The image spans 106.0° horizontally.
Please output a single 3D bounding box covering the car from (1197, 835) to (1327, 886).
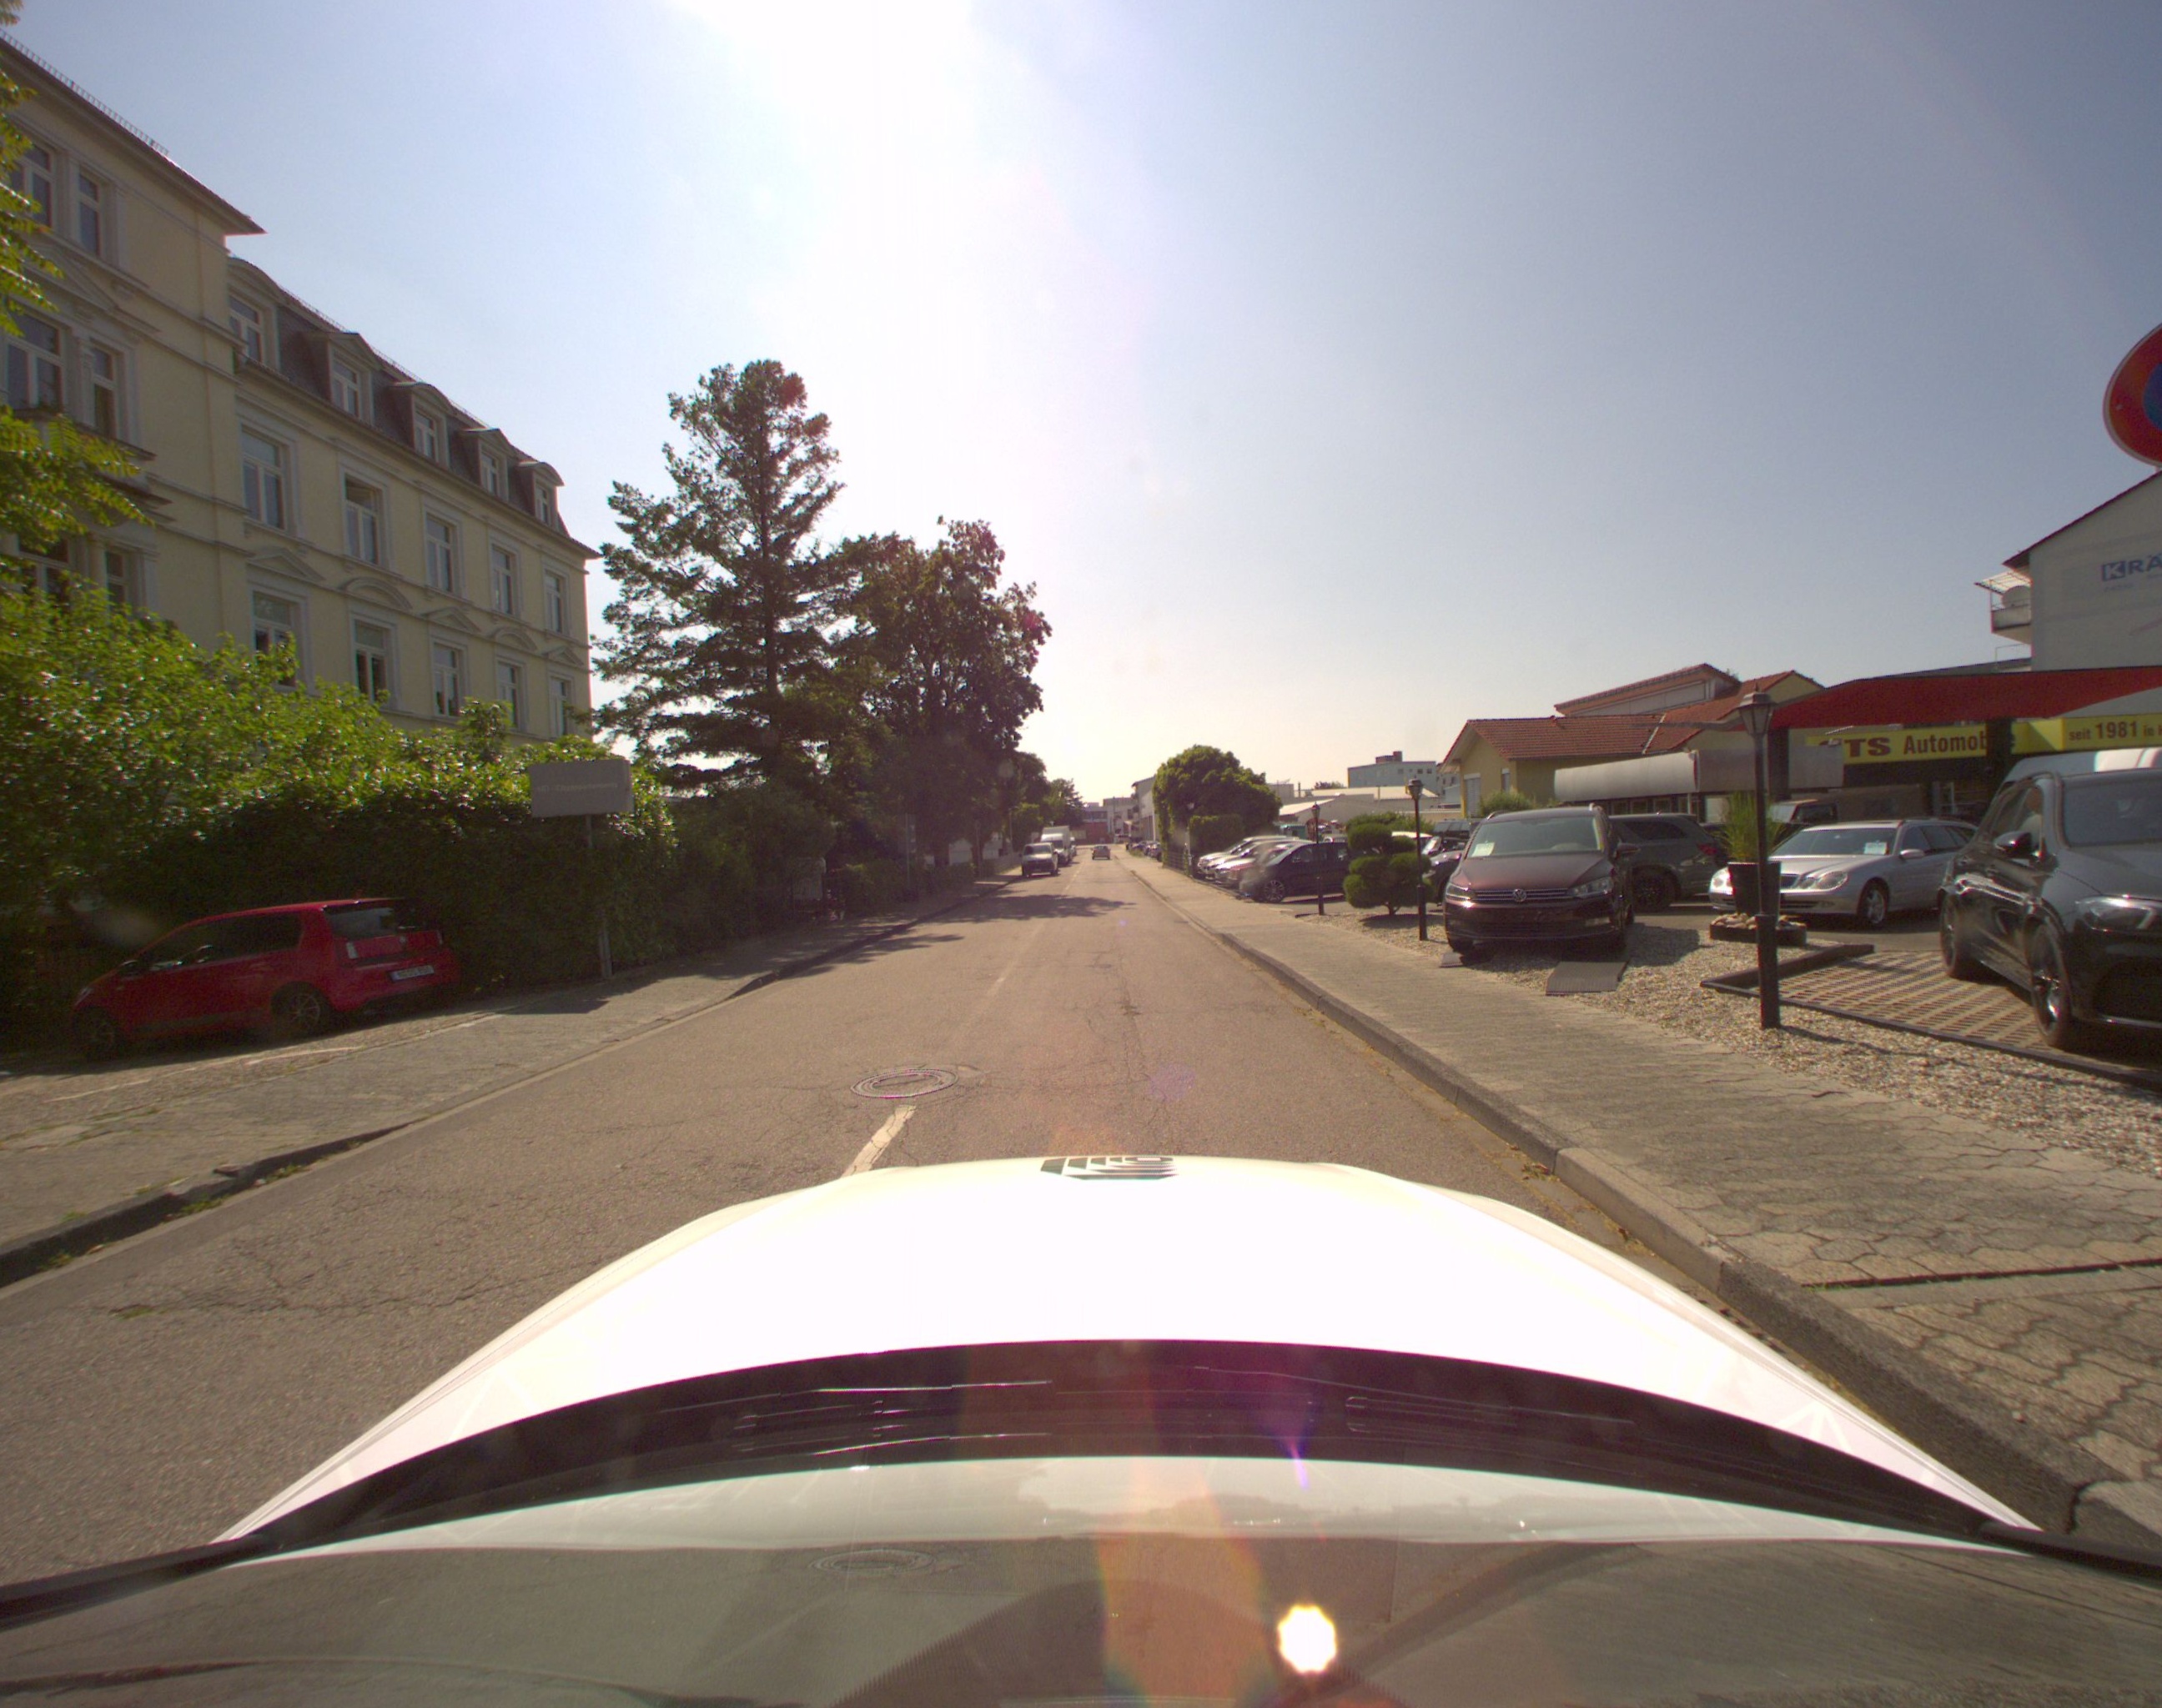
[{"bbox_3d":[6.810,0.240,30.918,4.396,1.527,1.894,-5,0,-5],"label":"car"}]

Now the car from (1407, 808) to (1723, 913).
[{"bbox_3d":[9.117,0.159,15.825,4.934,1.762,1.937,-2,1,26],"label":"car"}]

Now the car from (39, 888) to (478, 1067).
[{"bbox_3d":[-9.387,1.356,9.491,3.398,1.465,1.652,-7,0,3],"label":"car"}]

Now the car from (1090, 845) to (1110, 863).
[{"bbox_3d":[1.896,0.028,81.854,1.884,1.685,3.958,-2,0,1],"label":"car"}]

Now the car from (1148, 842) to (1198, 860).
[{"bbox_3d":[8.379,-0.305,74.619,4.339,1.441,1.892,-3,1,0],"label":"car"}]

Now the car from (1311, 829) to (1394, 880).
[{"bbox_3d":[10.630,0.019,32.184,1.987,1.860,3.789,-1,0,0],"label":"car"}]

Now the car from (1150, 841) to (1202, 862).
[{"bbox_3d":[7.947,-0.237,68.496,4.187,1.682,1.767,0,1,0],"label":"car"}]

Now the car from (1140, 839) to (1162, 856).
[{"bbox_3d":[7.465,-0.720,87.483,1.852,1.567,4.952,-3,1,0],"label":"car"}]

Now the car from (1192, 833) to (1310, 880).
[{"bbox_3d":[6.905,0.079,33.354,4.391,1.653,1.842,-3,0,-2],"label":"car"}]

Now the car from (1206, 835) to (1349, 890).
[{"bbox_3d":[6.756,0.276,28.245,4.396,1.497,1.894,-5,0,-5],"label":"car"}]

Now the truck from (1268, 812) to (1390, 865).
[{"bbox_3d":[18.595,-1.170,61.419,8.240,3.610,2.956,-2,1,3],"label":"truck"}]

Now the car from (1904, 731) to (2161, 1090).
[{"bbox_3d":[7.365,0.186,5.509,1.991,1.779,4.848,-2,0,40],"label":"car"}]

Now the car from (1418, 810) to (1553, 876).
[{"bbox_3d":[13.926,-0.369,28.449,1.989,2.013,4.901,-3,0,-3],"label":"car"}]

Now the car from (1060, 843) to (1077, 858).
[{"bbox_3d":[-1.553,-0.461,98.334,1.701,1.624,3.968,-4,1,-4],"label":"car"}]

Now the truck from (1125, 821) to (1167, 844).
[{"bbox_3d":[12.475,-4.118,156.322,7.348,3.644,2.763,-6,2,-5],"label":"truck"}]

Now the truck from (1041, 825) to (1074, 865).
[{"bbox_3d":[-2.167,-0.817,74.500,2.678,3.366,7.125,-3,0,-2],"label":"truck"}]

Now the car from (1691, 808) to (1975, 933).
[{"bbox_3d":[11.342,0.177,12.251,4.220,1.534,1.907,-3,0,-29],"label":"car"}]

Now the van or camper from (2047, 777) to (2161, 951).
[{"bbox_3d":[12.390,0.008,8.958,4.314,1.684,1.978,-3,0,-37],"label":"van or camper"}]

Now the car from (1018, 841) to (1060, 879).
[{"bbox_3d":[-2.441,0.297,48.619,1.964,2.013,5.057,-4,0,1],"label":"car"}]

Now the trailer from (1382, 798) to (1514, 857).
[{"bbox_3d":[27.189,-1.916,60.696,8.291,3.862,3.073,-3,0,6],"label":"trailer"}]

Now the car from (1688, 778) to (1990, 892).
[{"bbox_3d":[16.808,-0.402,18.377,4.525,2.150,1.935,-4,1,18],"label":"car"}]

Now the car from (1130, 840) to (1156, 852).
[{"bbox_3d":[8.002,-1.056,105.181,3.241,1.398,1.674,-3,1,1],"label":"car"}]

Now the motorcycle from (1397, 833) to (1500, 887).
[{"bbox_3d":[11.002,0.168,24.398,2.682,1.433,1.007,-3,0,-10],"label":"motorcycle"}]

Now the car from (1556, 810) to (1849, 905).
[{"bbox_3d":[12.859,0.114,17.271,4.522,1.636,1.935,-4,-1,22],"label":"car"}]

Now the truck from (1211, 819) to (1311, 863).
[{"bbox_3d":[14.428,-1.019,65.726,7.491,3.422,2.527,1,1,1],"label":"truck"}]

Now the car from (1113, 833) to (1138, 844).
[{"bbox_3d":[9.080,-3.106,164.772,4.667,1.957,1.905,-3,1,-18],"label":"car"}]

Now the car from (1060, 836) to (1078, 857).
[{"bbox_3d":[-1.503,-0.971,103.505,1.999,2.366,5.228,-5,1,-1],"label":"car"}]

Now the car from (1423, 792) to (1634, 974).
[{"bbox_3d":[5.794,0.258,10.251,1.829,1.782,4.318,-3,0,34],"label":"car"}]

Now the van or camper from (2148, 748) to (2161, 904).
[{"bbox_3d":[18.503,-0.504,11.932,5.511,2.261,2.096,-2,0,-22],"label":"van or camper"}]

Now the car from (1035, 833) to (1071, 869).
[{"bbox_3d":[-2.156,-0.250,64.606,2.160,2.595,6.924,-4,0,2],"label":"car"}]

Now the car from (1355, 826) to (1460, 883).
[{"bbox_3d":[11.099,-0.011,28.012,1.987,1.728,4.000,-3,0,0],"label":"car"}]

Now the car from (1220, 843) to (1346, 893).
[{"bbox_3d":[6.333,0.417,25.757,3.539,1.335,1.558,-3,0,-1],"label":"car"}]

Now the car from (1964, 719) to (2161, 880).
[{"bbox_3d":[20.258,-1.101,15.755,6.024,2.678,2.243,-5,0,-22],"label":"car"}]

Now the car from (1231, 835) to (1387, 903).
[{"bbox_3d":[6.281,0.400,22.742,3.791,1.624,1.759,-3,0,-1],"label":"car"}]
